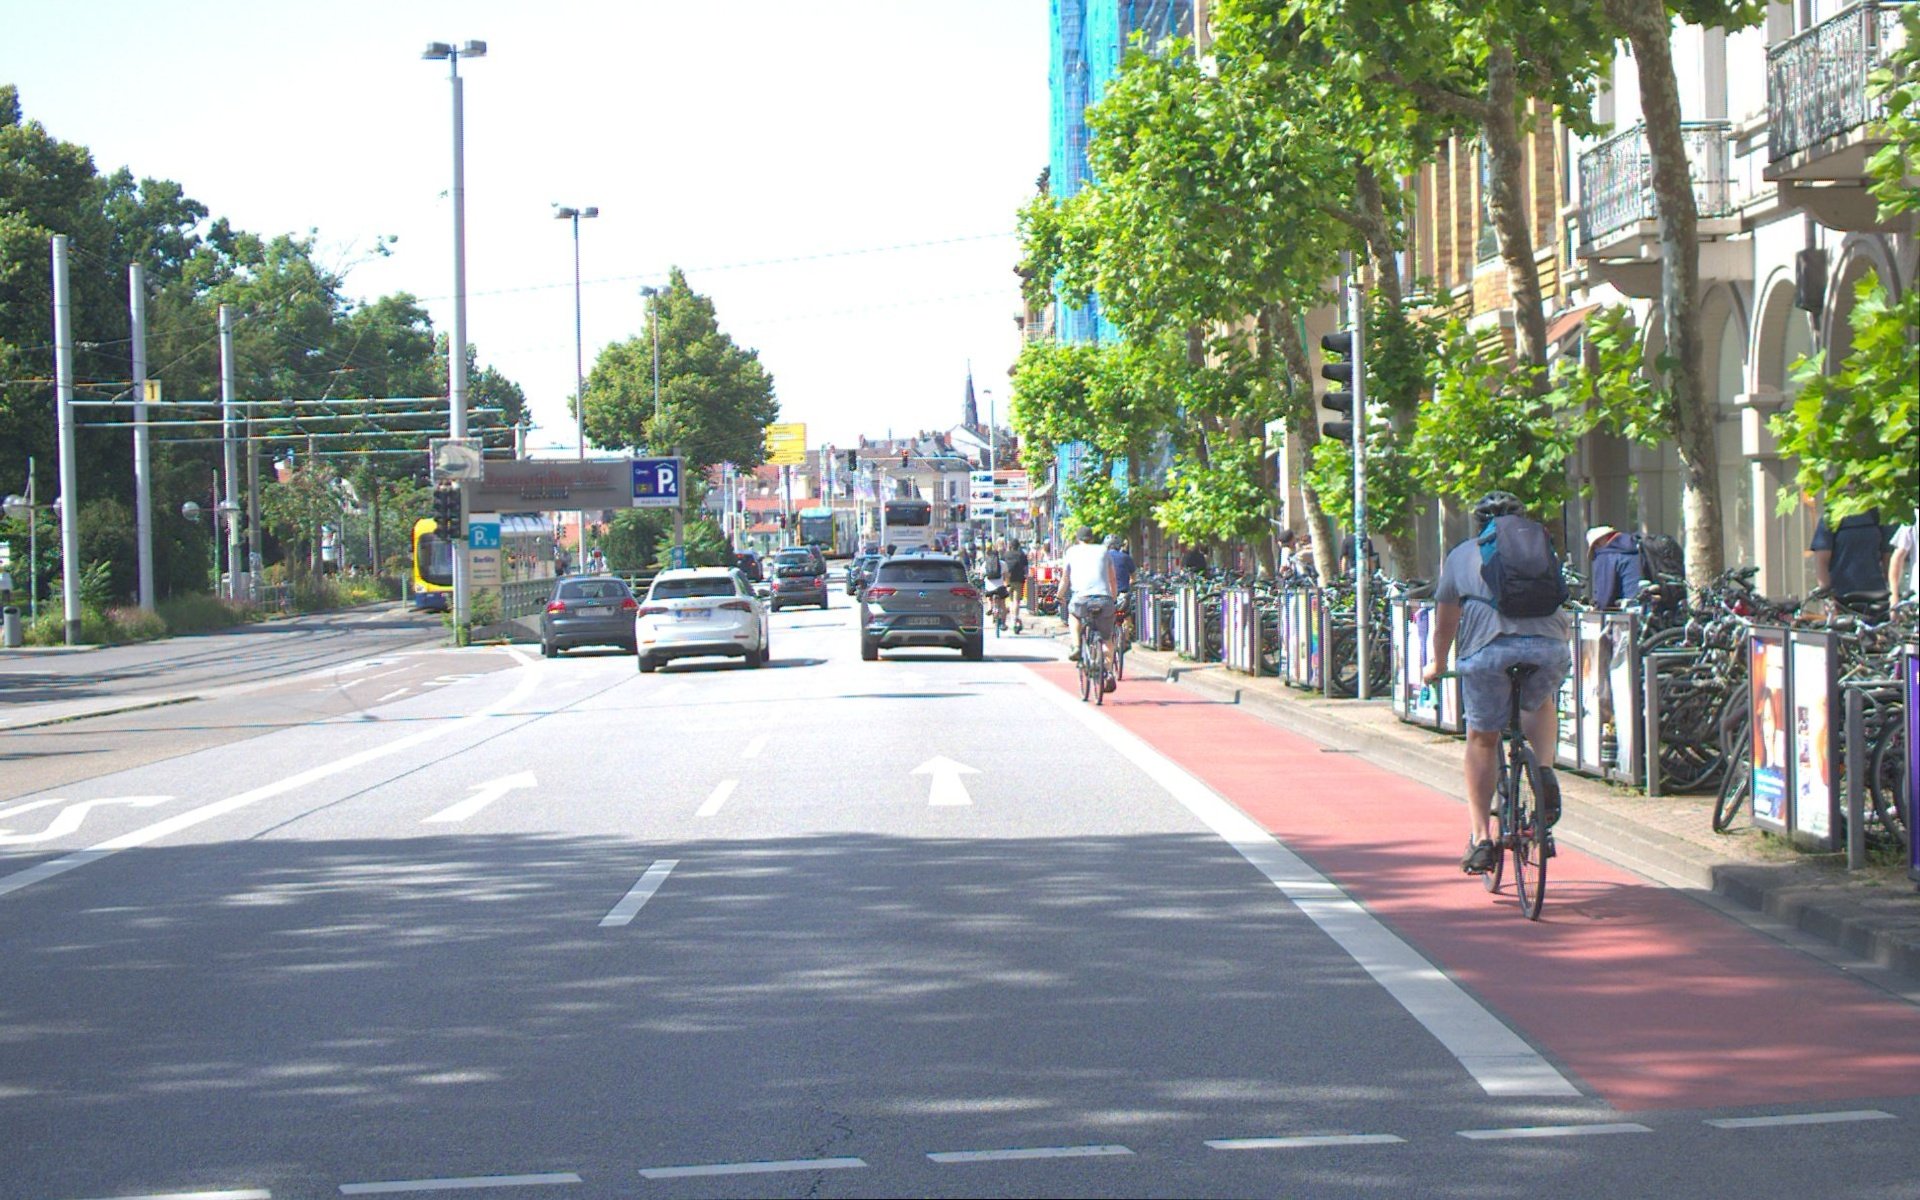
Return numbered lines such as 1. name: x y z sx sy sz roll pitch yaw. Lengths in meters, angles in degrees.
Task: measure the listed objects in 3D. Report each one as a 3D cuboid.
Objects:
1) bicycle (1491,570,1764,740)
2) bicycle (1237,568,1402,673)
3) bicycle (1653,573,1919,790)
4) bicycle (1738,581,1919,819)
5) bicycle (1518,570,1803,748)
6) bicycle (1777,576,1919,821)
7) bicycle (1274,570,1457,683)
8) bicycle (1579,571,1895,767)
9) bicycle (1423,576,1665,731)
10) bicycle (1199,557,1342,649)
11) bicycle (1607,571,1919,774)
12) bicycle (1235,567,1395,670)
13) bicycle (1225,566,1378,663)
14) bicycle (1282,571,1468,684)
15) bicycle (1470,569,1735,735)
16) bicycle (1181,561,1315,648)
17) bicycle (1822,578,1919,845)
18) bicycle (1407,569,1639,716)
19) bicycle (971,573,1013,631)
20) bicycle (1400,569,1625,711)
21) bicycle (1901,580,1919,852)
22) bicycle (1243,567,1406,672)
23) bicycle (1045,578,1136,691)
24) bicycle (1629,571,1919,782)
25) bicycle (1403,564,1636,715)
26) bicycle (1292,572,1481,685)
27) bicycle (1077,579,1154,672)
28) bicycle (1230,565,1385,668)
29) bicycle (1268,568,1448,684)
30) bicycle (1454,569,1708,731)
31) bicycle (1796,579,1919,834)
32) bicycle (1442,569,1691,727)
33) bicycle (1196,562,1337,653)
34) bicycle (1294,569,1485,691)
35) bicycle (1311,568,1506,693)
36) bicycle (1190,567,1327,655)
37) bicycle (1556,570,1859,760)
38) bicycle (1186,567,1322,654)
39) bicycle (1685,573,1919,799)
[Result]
1. bicycle: 4.622 0.374 23.857 1.752 1.143 0.593 -1 0 -3
2. bicycle: 3.999 0.224 38.258 1.752 1.143 0.483 -1 0 -3
3. bicycle: 4.731 0.431 18.764 1.752 1.143 0.593 -1 0 -3
4. bicycle: 4.831 0.481 17.123 1.752 1.143 0.599 -1 0 -3
5. bicycle: 4.657 0.384 22.897 1.752 1.143 0.593 -1 0 -3
6. bicycle: 4.870 0.456 16.511 1.752 1.143 0.518 -1 0 -3
7. bicycle: 4.075 0.265 34.576 1.752 1.101 0.483 -1 0 -3
8. bicycle: 4.691 0.406 20.801 1.752 1.143 0.593 -1 0 -3
9. bicycle: 4.459 0.401 26.291 1.752 1.143 0.483 -1 0 -3
10. bicycle: 3.969 0.031 44.000 1.752 1.143 0.499 -1 0 -3
11. bicycle: 4.724 0.415 20.073 1.752 1.143 0.593 -1 0 -3
12. bicycle: 4.066 0.211 39.379 1.752 1.143 0.483 -1 0 -3
13. bicycle: 4.078 0.167 41.057 1.752 1.119 0.483 -1 0 -3
14. bicycle: 4.109 0.270 34.075 1.752 1.084 0.483 -1 0 -3
15. bicycle: 4.580 0.365 24.551 1.752 1.143 0.593 -1 0 -3
16. bicycle: 3.903 0.061 46.621 1.752 1.143 0.483 -1 0 -3
17. bicycle: 4.761 0.471 15.155 1.752 1.143 0.593 -1 0 -3
18. bicycle: 4.492 0.333 27.484 1.752 1.143 0.483 -1 0 -3
19. bicycle: 0.618 0.028 67.133 0.734 1.089 1.898 1 1 -2
20. bicycle: 4.587 0.329 28.588 1.773 1.143 0.483 -1 0 -3
21. bicycle: 4.908 0.477 14.406 1.752 1.143 0.593 -1 0 -3
22. bicycle: 4.108 0.216 38.808 1.752 1.143 0.527 -1 0 -3
23. bicycle: 1.309 0.335 34.767 0.734 1.089 1.898 1 1 -3
24. bicycle: 4.723 0.422 19.397 1.752 1.143 0.593 -1 0 -3
25. bicycle: 4.556 0.315 28.035 1.799 1.190 0.483 -1 0 -3
26. bicycle: 4.155 0.276 33.519 1.752 1.065 0.483 -1 0 -3
27. bicycle: 1.887 0.302 41.967 0.734 1.089 1.911 1 1 -3
28. bicycle: 4.091 0.189 40.495 1.752 1.183 0.483 -1 0 -3
29. bicycle: 4.056 0.262 35.070 1.752 1.143 0.483 -1 0 -3
30. bicycle: 4.535 0.357 25.135 1.752 1.143 0.483 -1 0 -3
31. bicycle: 4.819 0.471 15.882 1.752 1.143 0.593 -1 0 -3
32. bicycle: 4.520 0.351 25.666 1.752 1.143 0.483 -1 0 -3
33. bicycle: 3.970 0.094 44.597 1.752 1.143 0.483 -1 0 -3
34. bicycle: 4.121 0.282 33.021 1.752 1.143 0.483 -1 0 -3
35. bicycle: 4.235 0.285 32.518 1.752 1.143 0.483 -1 0 -3
36. bicycle: 3.961 0.140 45.624 1.752 1.143 0.483 -1 0 -3
37. bicycle: 4.678 0.398 21.565 1.752 1.143 0.593 -1 0 -3
38. bicycle: 3.936 0.135 46.129 1.752 1.143 0.483 -1 0 -3
39. bicycle: 4.759 0.437 18.064 1.752 1.143 0.593 -1 0 -3
